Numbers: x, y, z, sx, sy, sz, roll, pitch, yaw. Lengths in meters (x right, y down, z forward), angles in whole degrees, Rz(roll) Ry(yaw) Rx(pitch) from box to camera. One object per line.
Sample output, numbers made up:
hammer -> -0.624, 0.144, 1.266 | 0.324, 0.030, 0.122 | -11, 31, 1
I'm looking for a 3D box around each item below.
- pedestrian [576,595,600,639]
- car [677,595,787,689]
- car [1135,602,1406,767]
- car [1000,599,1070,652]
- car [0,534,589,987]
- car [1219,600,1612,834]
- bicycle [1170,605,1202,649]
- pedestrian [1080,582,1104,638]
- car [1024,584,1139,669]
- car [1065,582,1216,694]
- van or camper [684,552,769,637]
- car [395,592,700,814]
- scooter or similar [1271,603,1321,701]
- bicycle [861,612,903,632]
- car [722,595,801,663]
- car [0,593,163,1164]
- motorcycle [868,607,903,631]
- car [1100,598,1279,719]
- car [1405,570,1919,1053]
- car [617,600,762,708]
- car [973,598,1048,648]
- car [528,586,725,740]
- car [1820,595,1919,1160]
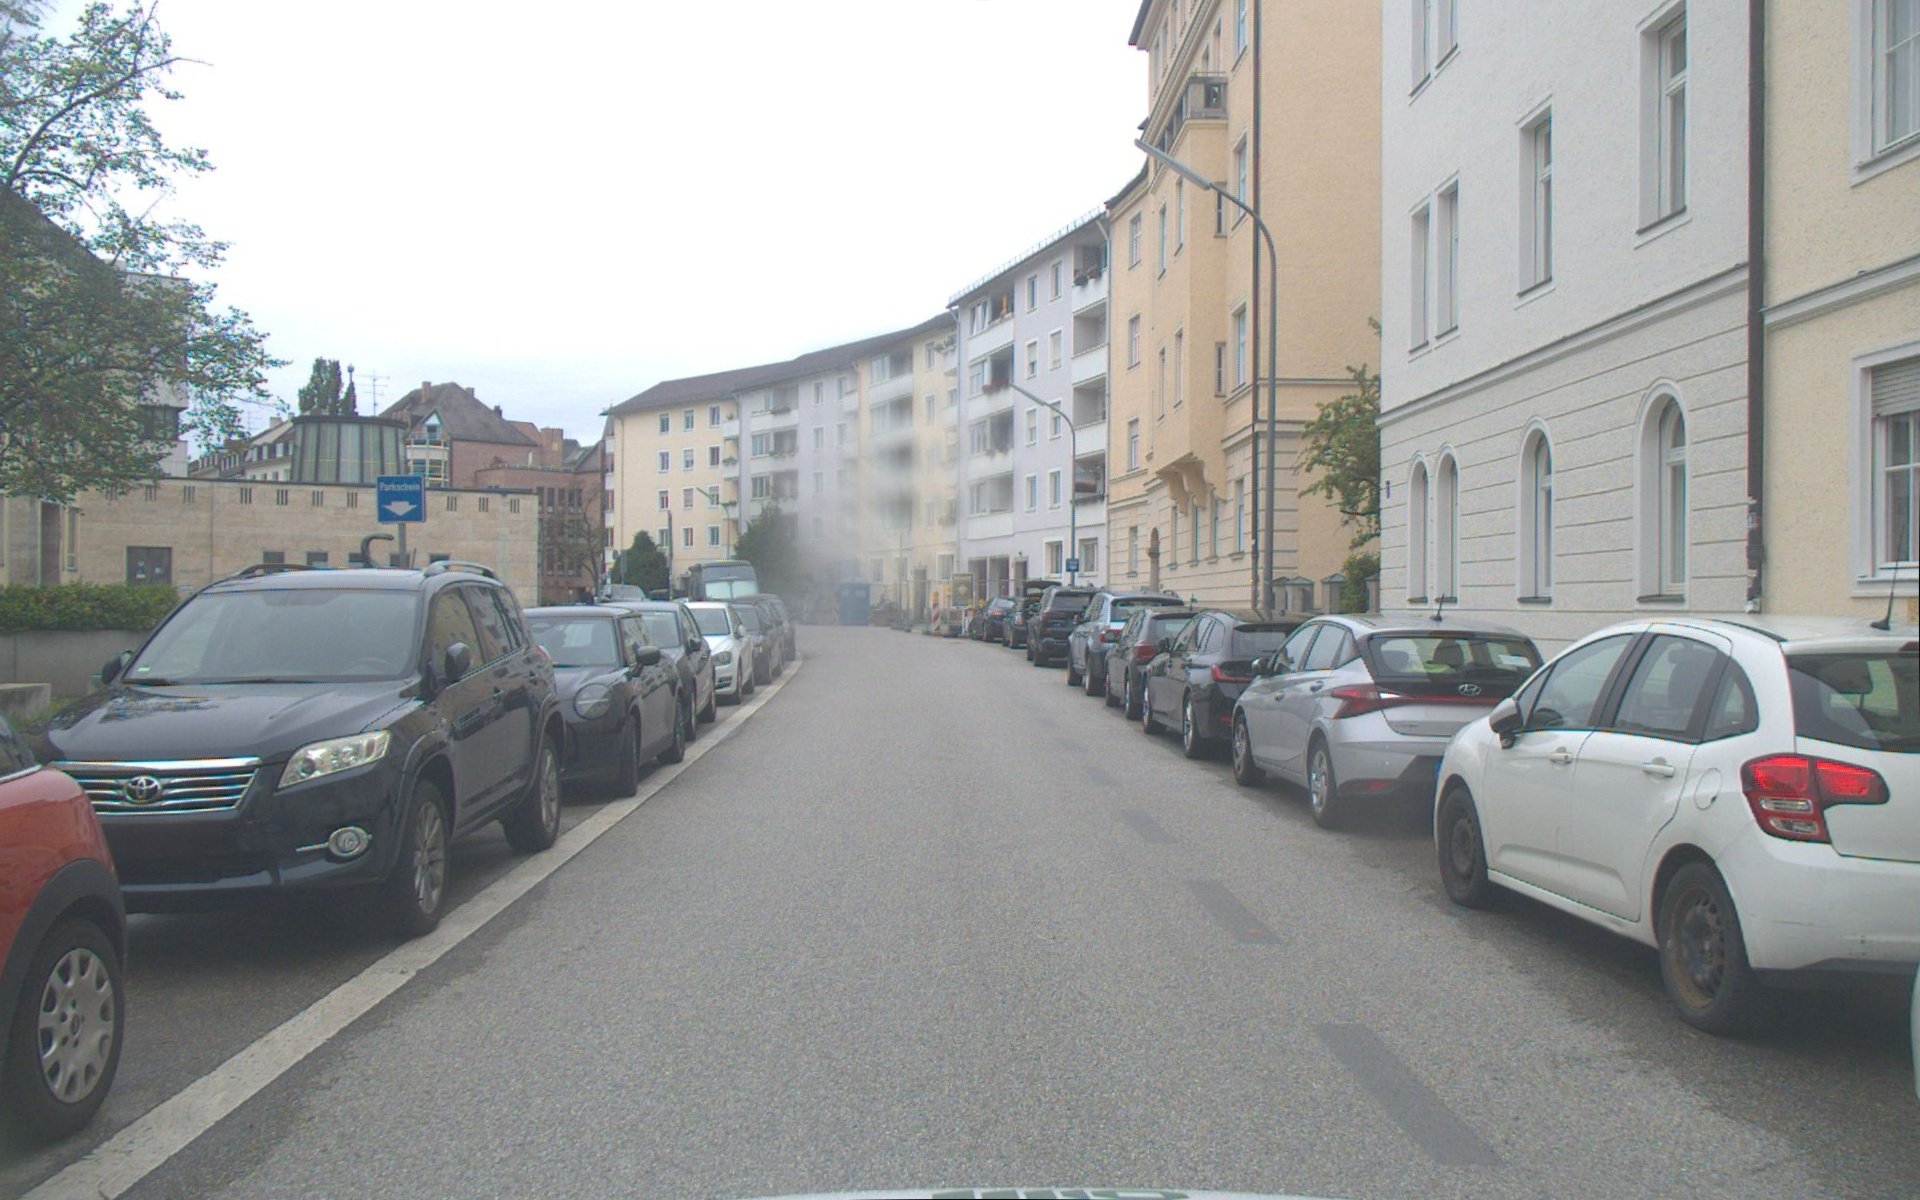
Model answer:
pedestrian -> -16.183, 0.718, 71.920 | 0.833, 1.899, 0.707 | 1, -1, -30
car -> -4.065, 0.715, 30.036 | 1.598, 1.520, 4.272 | -2, 0, -3
car -> 3.105, 0.777, 17.539 | 1.838, 1.475, 4.676 | 1, 0, -2
car -> 2.139, 0.716, 48.011 | 1.599, 1.442, 3.676 | 1, 0, -4
car -> -3.189, 0.621, 8.477 | 1.680, 1.719, 4.140 | -1, 0, -1
car -> 3.264, 0.755, 12.735 | 1.690, 1.475, 4.185 | 1, 0, -3
bicycle -> 5.783, 0.678, 42.384 | 0.491, 1.067, 2.137 | -3, 0, 0
pedestrian -> 4.210, 0.318, 52.778 | 0.605, 1.720, 0.919 | -3, -1, -1
car -> 2.695, 0.563, 37.815 | 2.126, 1.769, 5.022 | 1, 0, -1
car -> 2.907, 0.581, 27.555 | 1.809, 1.692, 4.496 | 1, 0, -3
van or camper -> -7.837, -0.180, 54.998 | 2.257, 2.626, 6.066 | 1, 0, -13
car -> -3.246, 0.734, 13.728 | 1.598, 1.520, 3.819 | -2, 0, -1
scooter or similar -> 4.444, 0.676, 21.919 | 0.418, 1.252, 1.047 | 1, 0, -1
bicycle -> -4.469, 1.250, 94.490 | 2.204, 1.088, 0.912 | 1, -1, -26
car -> -4.751, 0.668, 39.935 | 1.740, 1.491, 4.460 | -2, 0, -6
car -> -3.291, 0.730, 3.147 | 1.768, 1.431, 3.708 | -2, 0, -1
motorcycle -> -3.900, 0.990, 86.487 | 0.920, 1.242, 2.487 | 1, -1, -25
car -> 3.033, 0.727, 22.632 | 1.790, 1.475, 4.083 | 1, 0, -1
car -> 3.452, 0.702, 7.437 | 1.618, 1.571, 3.991 | 1, 0, -3
car -> -3.944, 0.734, 24.705 | 1.706, 1.447, 4.291 | 1, 0, -4
car -> 1.606, 0.717, 54.264 | 1.871, 1.503, 4.940 | 1, 0, -5
car -> -3.653, 0.631, 18.740 | 1.598, 1.520, 4.098 | 1, 0, -3
car -> 3.384, 0.733, 2.617 | 1.690, 1.455, 4.292 | 1, 0, -2
